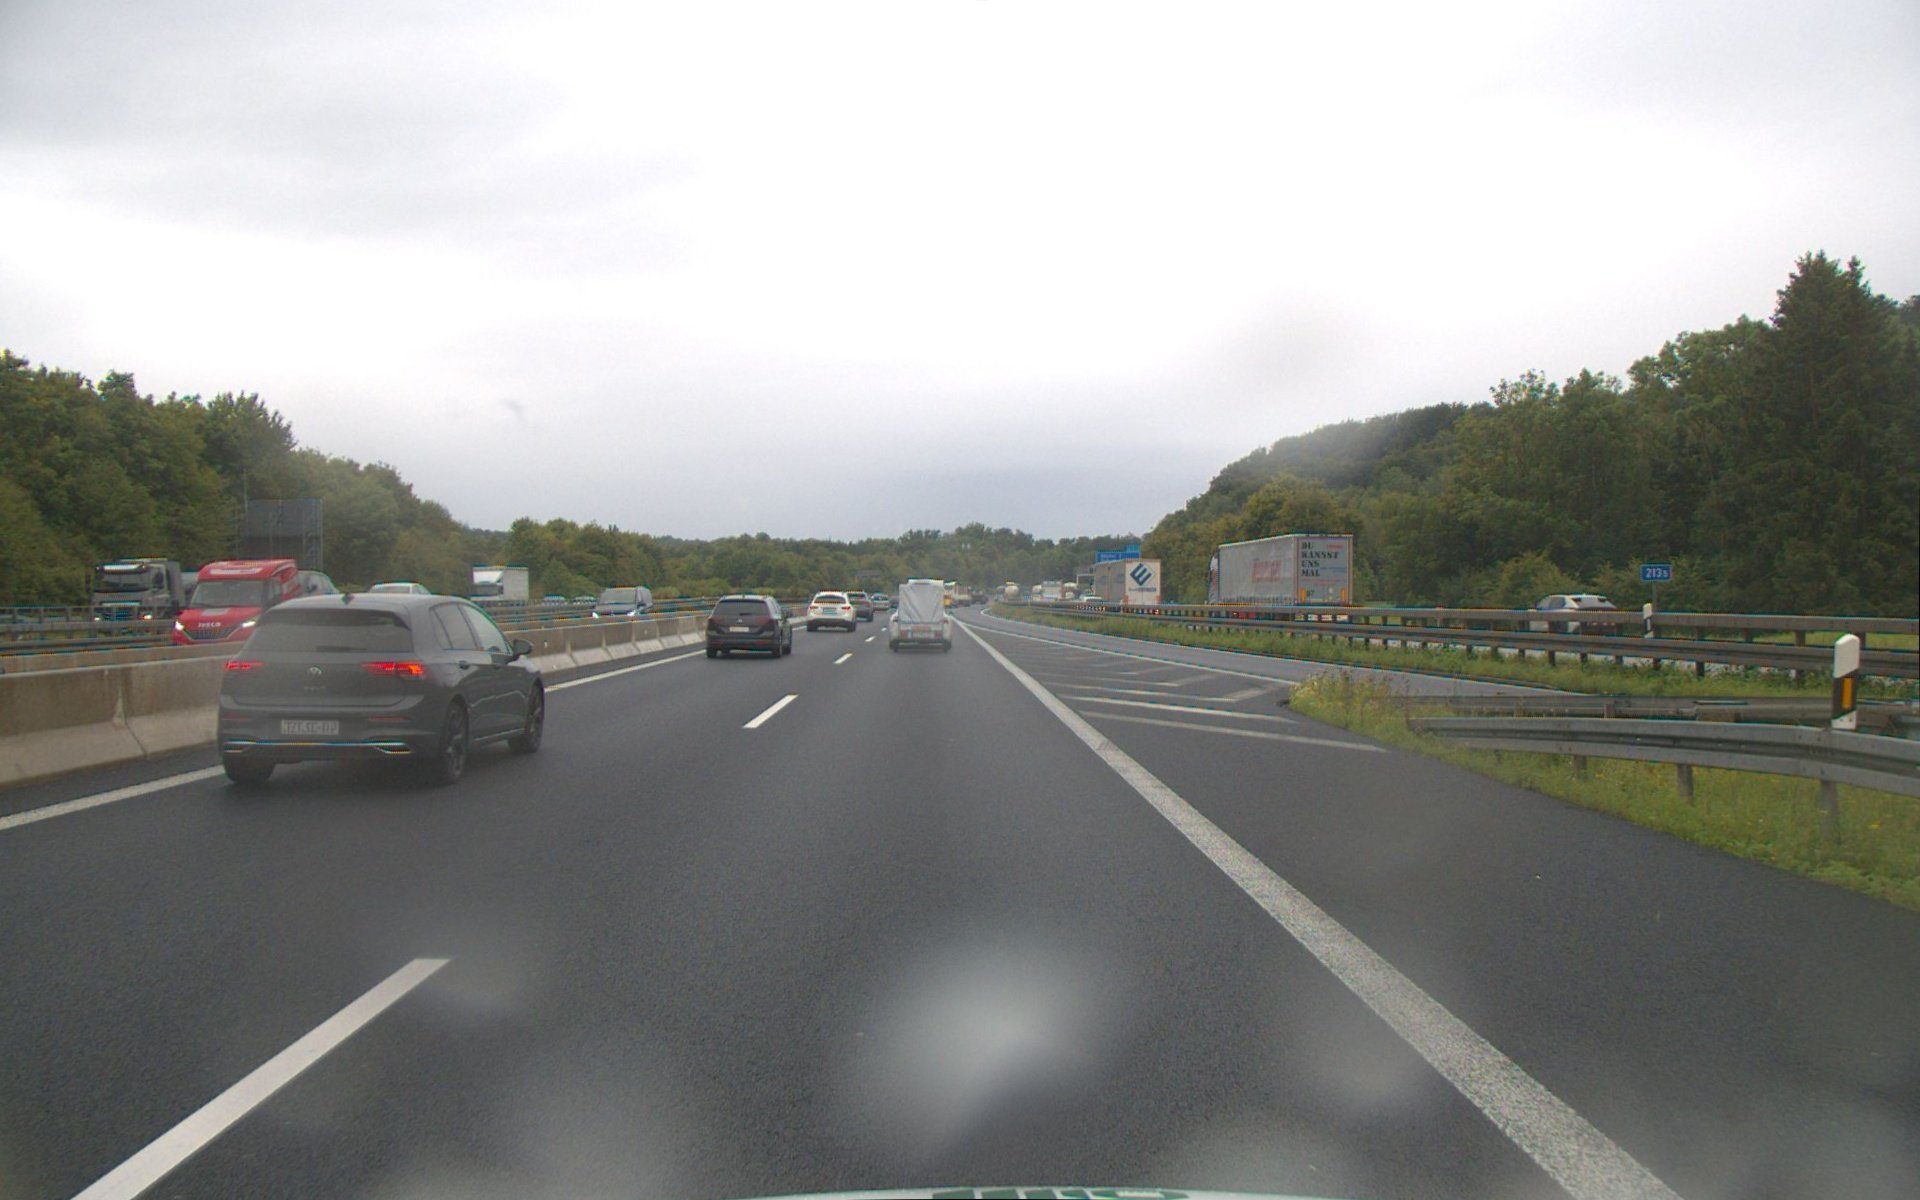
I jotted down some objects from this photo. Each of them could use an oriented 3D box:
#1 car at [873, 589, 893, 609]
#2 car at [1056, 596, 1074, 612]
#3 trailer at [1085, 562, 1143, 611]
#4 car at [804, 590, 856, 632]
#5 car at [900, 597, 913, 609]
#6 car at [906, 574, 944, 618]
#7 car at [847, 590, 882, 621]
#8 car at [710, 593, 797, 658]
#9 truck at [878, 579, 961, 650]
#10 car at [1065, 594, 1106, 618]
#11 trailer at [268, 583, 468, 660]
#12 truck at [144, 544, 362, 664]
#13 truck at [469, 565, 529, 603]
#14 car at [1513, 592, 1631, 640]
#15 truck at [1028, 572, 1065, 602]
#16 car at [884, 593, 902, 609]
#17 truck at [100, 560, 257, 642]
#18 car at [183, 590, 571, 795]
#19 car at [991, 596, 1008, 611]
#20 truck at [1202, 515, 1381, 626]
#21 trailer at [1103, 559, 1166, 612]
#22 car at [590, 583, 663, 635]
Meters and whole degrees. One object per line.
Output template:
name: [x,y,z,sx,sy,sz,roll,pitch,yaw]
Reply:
car: [-7.035,-0.106,150.619,1.703,1.825,3.999,1,0,-1]
car: [11.080,0.411,175.162,1.612,1.601,3.999,1,0,-1]
trailer: [11.618,-0.994,125.646,2.880,3.588,8.411,1,0,-5]
car: [-5.488,0.437,69.474,2.009,1.700,4.535,1,0,-6]
car: [-7.062,0.397,217.085,1.612,1.601,3.999,1,0,-1]
car: [-2.326,-0.275,107.785,2.285,2.773,6.536,0,0,-3]
car: [-5.633,0.329,97.962,1.936,1.733,4.801,1,0,-2]
car: [-5.014,0.585,40.730,1.752,1.484,4.799,1,0,-3]
truck: [-1.147,0.405,47.399,2.196,1.871,6.582,0,0,-1]
car: [8.765,0.417,115.929,1.956,1.645,5.071,0,0,-7]
trailer: [-17.253,0.554,49.095,2.485,2.049,10.242,0,0,-1]
truck: [-17.019,0.090,40.365,2.377,2.639,7.091,0,0,-1]
truck: [-37.124,-1.255,133.384,2.684,2.923,8.538,0,0,-2]
car: [20.267,0.501,55.013,1.784,1.530,5.027,0,0,-4]
truck: [11.231,-1.705,215.981,3.750,3.723,8.263,1,0,-5]
car: [-7.387,0.083,182.699,1.782,1.691,4.016,0,0,-1]
truck: [-32.308,0.028,68.812,2.462,3.200,8.847,0,0,-1]
car: [-4.707,0.666,14.093,1.793,1.450,4.367,1,0,-1]
car: [4.227,0.373,176.228,1.612,1.601,3.999,1,0,-1]
truck: [15.120,-1.207,77.632,3.746,4.620,16.868,0,0,-5]
trailer: [12.314,-0.988,117.393,3.018,3.588,8.077,1,0,-4]
car: [-13.628,0.351,67.873,1.953,2.049,5.099,0,0,0]
